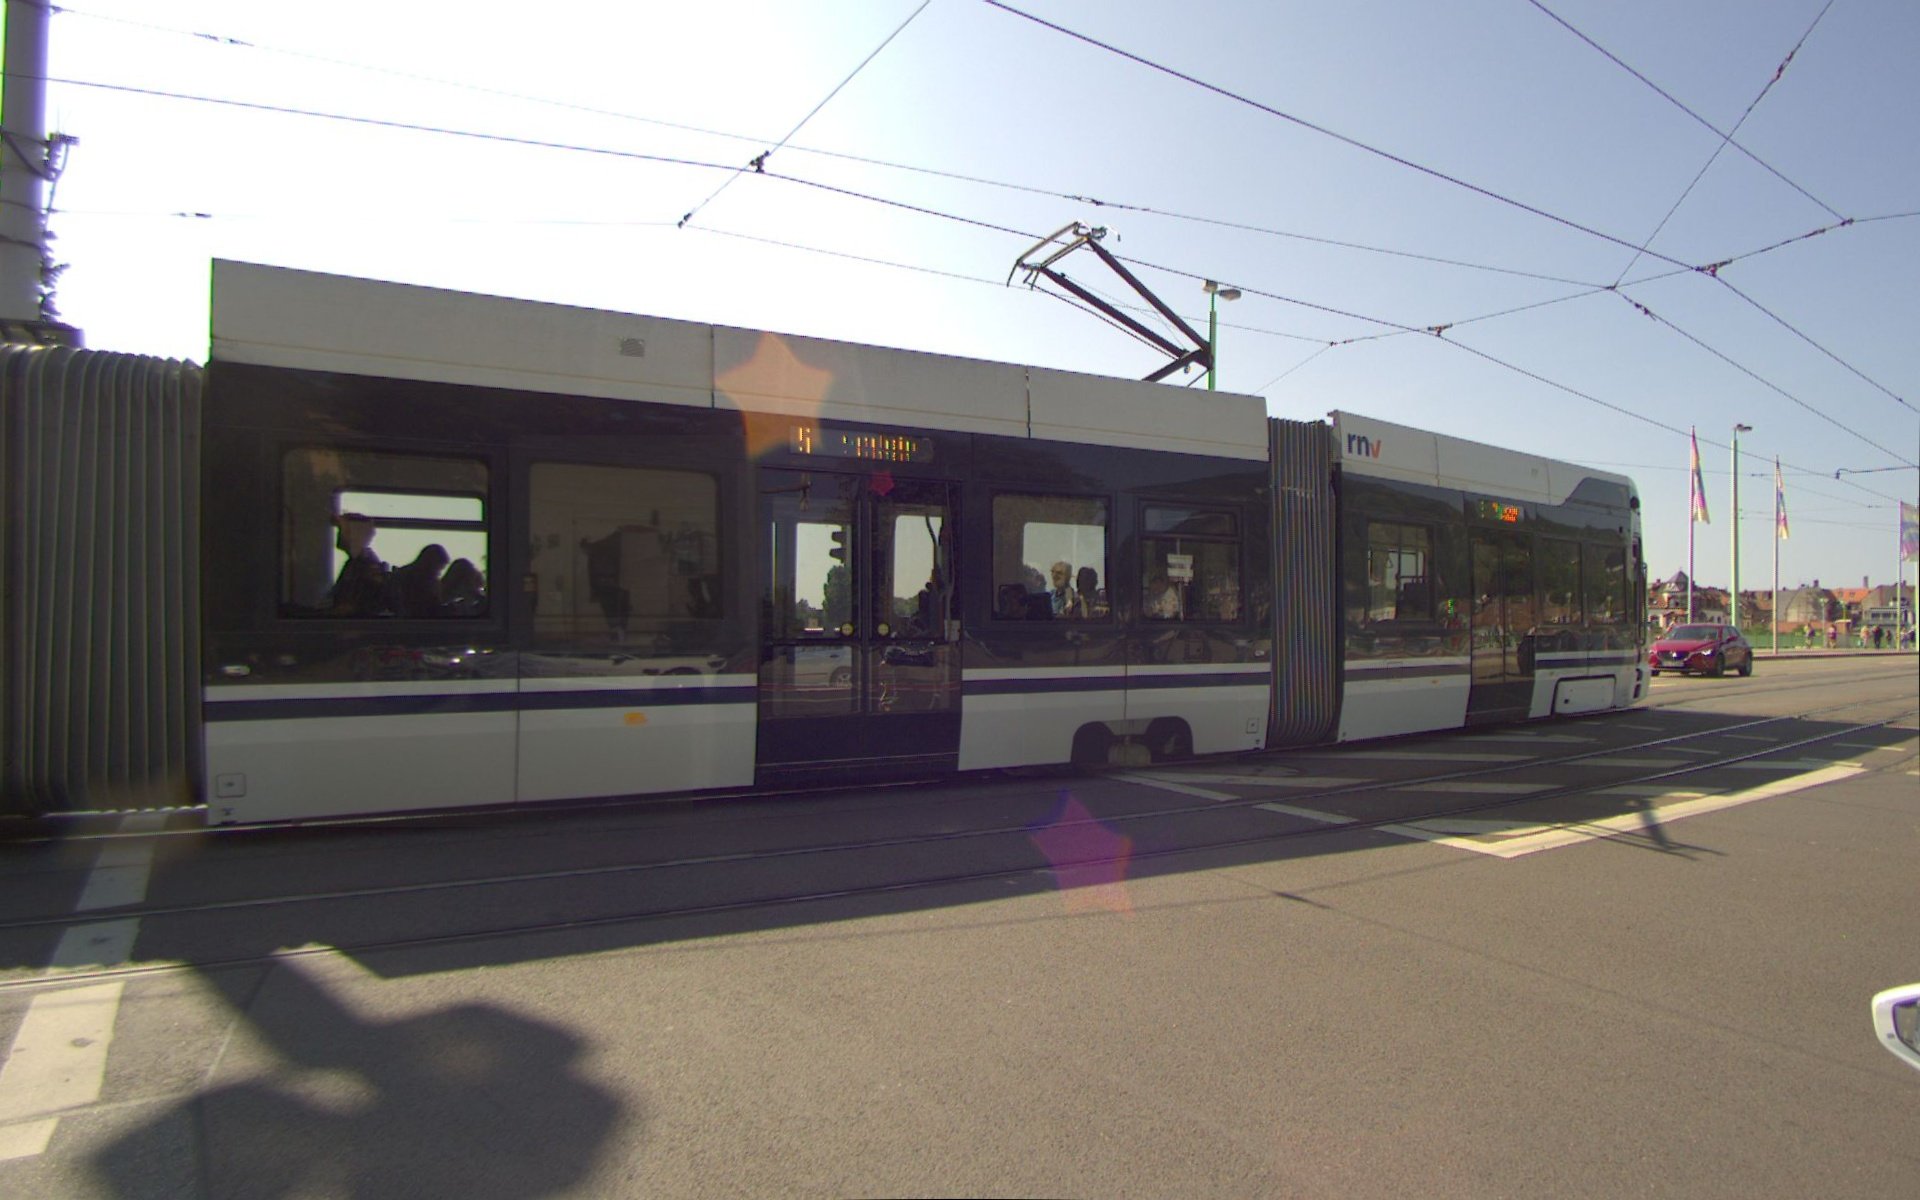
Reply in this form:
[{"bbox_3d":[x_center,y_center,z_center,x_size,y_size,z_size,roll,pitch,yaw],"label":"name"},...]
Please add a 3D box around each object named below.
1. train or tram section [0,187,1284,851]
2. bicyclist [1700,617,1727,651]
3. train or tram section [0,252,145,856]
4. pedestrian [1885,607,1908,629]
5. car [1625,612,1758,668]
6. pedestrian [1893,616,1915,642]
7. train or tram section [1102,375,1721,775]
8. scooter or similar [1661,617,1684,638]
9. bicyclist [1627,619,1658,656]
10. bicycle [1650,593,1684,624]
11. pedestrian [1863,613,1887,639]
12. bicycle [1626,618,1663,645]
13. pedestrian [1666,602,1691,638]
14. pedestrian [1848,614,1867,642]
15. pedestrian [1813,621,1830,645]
[{"bbox_3d":[-1.697,-0.433,8.696,9.488,3.730,2.397,0,-1,-25],"label":"train or tram section"},{"bbox_3d":[37.040,1.680,49.385,0.765,1.630,0.871,2,-1,-37],"label":"bicyclist"},{"bbox_3d":[-10.541,-0.277,5.608,9.015,3.827,2.538,0,-1,-15],"label":"train or tram section"},{"bbox_3d":[76.564,1.439,82.078,1.281,1.752,1.090,0,1,-34],"label":"pedestrian"},{"bbox_3d":[21.386,1.151,29.318,4.149,1.535,1.980,2,-1,-36],"label":"car"},{"bbox_3d":[75.520,2.289,80.358,1.284,2.040,1.088,1,-1,-39],"label":"pedestrian"},{"bbox_3d":[7.084,-0.193,14.080,11.735,3.827,2.453,0,-1,-36],"label":"train or tram section"},{"bbox_3d":[37.439,1.452,52.779,0.825,1.043,0.732,1,2,-39],"label":"scooter or similar"},{"bbox_3d":[30.494,1.673,44.896,0.764,1.630,0.872,-1,-1,-34],"label":"bicyclist"},{"bbox_3d":[33.495,0.421,47.553,2.145,1.418,0.699,1,3,-40],"label":"bicycle"},{"bbox_3d":[66.257,1.878,72.758,1.284,1.782,1.088,0,1,-39],"label":"pedestrian"},{"bbox_3d":[30.687,1.405,45.009,1.901,1.129,0.753,-1,2,-35],"label":"bicycle"},{"bbox_3d":[38.154,1.057,53.337,0.967,1.878,0.732,1,2,-39],"label":"pedestrian"},{"bbox_3d":[66.369,2.085,74.272,1.093,2.040,0.960,1,-1,-42],"label":"pedestrian"},{"bbox_3d":[62.340,2.401,72.680,1.166,1.745,0.748,2,-1,-39],"label":"pedestrian"}]
